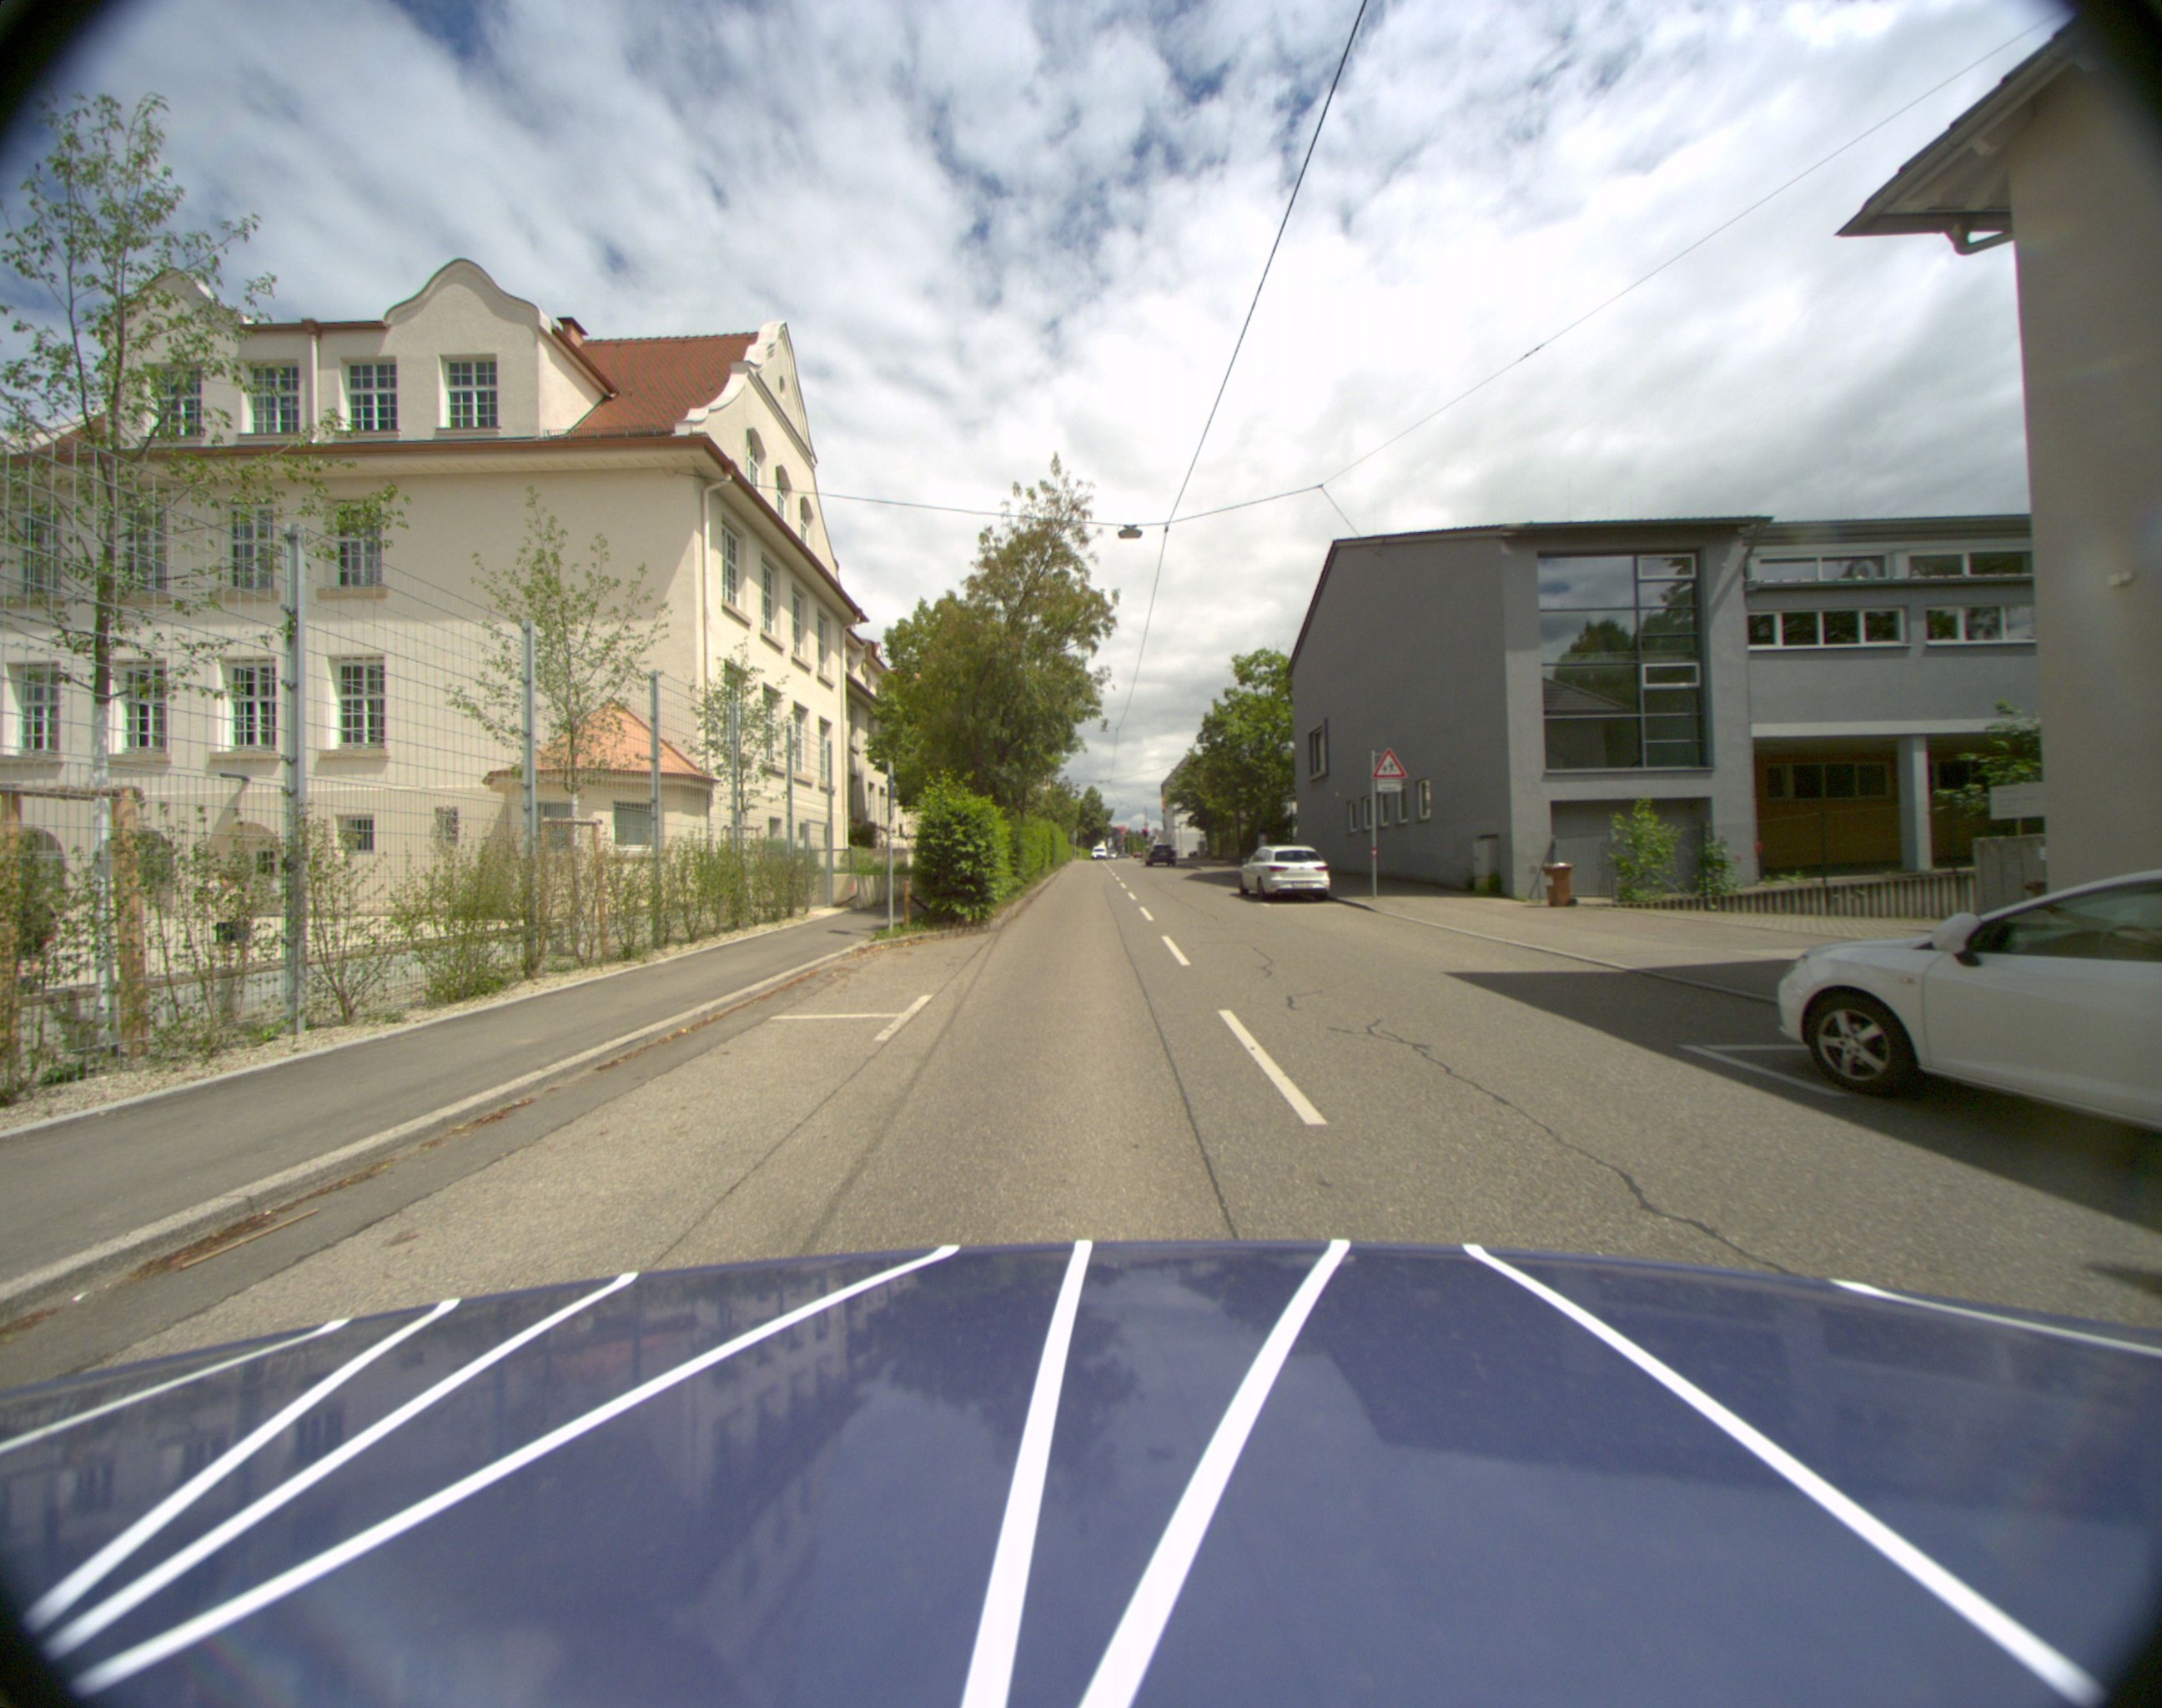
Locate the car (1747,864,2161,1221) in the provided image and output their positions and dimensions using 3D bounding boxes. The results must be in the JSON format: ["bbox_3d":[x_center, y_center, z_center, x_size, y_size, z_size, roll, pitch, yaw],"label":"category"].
[{"bbox_3d":[5.369,0.816,3.311,1.651,1.410,3.698,-2,0,-1],"label":"car"}]

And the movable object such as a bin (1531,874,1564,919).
[{"bbox_3d":[9.971,0.899,16.247,0.455,0.923,0.399,0,1,0],"label":"movable object such as a bin"}]

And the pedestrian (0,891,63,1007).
[{"bbox_3d":[-12.582,1.120,9.043,0.371,1.320,0.351,-2,1,-7],"label":"pedestrian"}]

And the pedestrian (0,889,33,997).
[{"bbox_3d":[-13.673,1.121,9.527,0.371,1.320,0.444,-2,1,-7],"label":"pedestrian"}]

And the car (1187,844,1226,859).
[{"bbox_3d":[14.060,-0.245,85.397,3.997,1.468,1.859,-1,-2,1],"label":"car"}]

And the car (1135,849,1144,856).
[{"bbox_3d":[13.743,-0.280,178.344,1.794,1.477,4.003,-3,-1,6],"label":"car"}]

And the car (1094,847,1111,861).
[{"bbox_3d":[2.722,-0.024,96.327,1.893,1.718,4.294,-2,0,4],"label":"car"}]

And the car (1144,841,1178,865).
[{"bbox_3d":[5.674,-0.078,54.328,1.800,1.601,4.645,-1,0,-1],"label":"car"}]

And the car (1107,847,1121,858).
[{"bbox_3d":[5.107,-0.253,117.356,1.794,1.477,4.003,-3,-1,6],"label":"car"}]

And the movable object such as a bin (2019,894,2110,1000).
[{"bbox_3d":[9.325,0.866,7.210,0.415,0.948,0.391,-1,1,-13],"label":"movable object such as a bin"}]

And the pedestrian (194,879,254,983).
[{"bbox_3d":[-11.241,1.002,9.971,0.371,1.320,0.318,-2,1,-5],"label":"pedestrian"}]

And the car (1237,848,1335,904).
[{"bbox_3d":[5.537,0.570,21.021,1.701,1.382,3.866,-1,-1,1],"label":"car"}]
